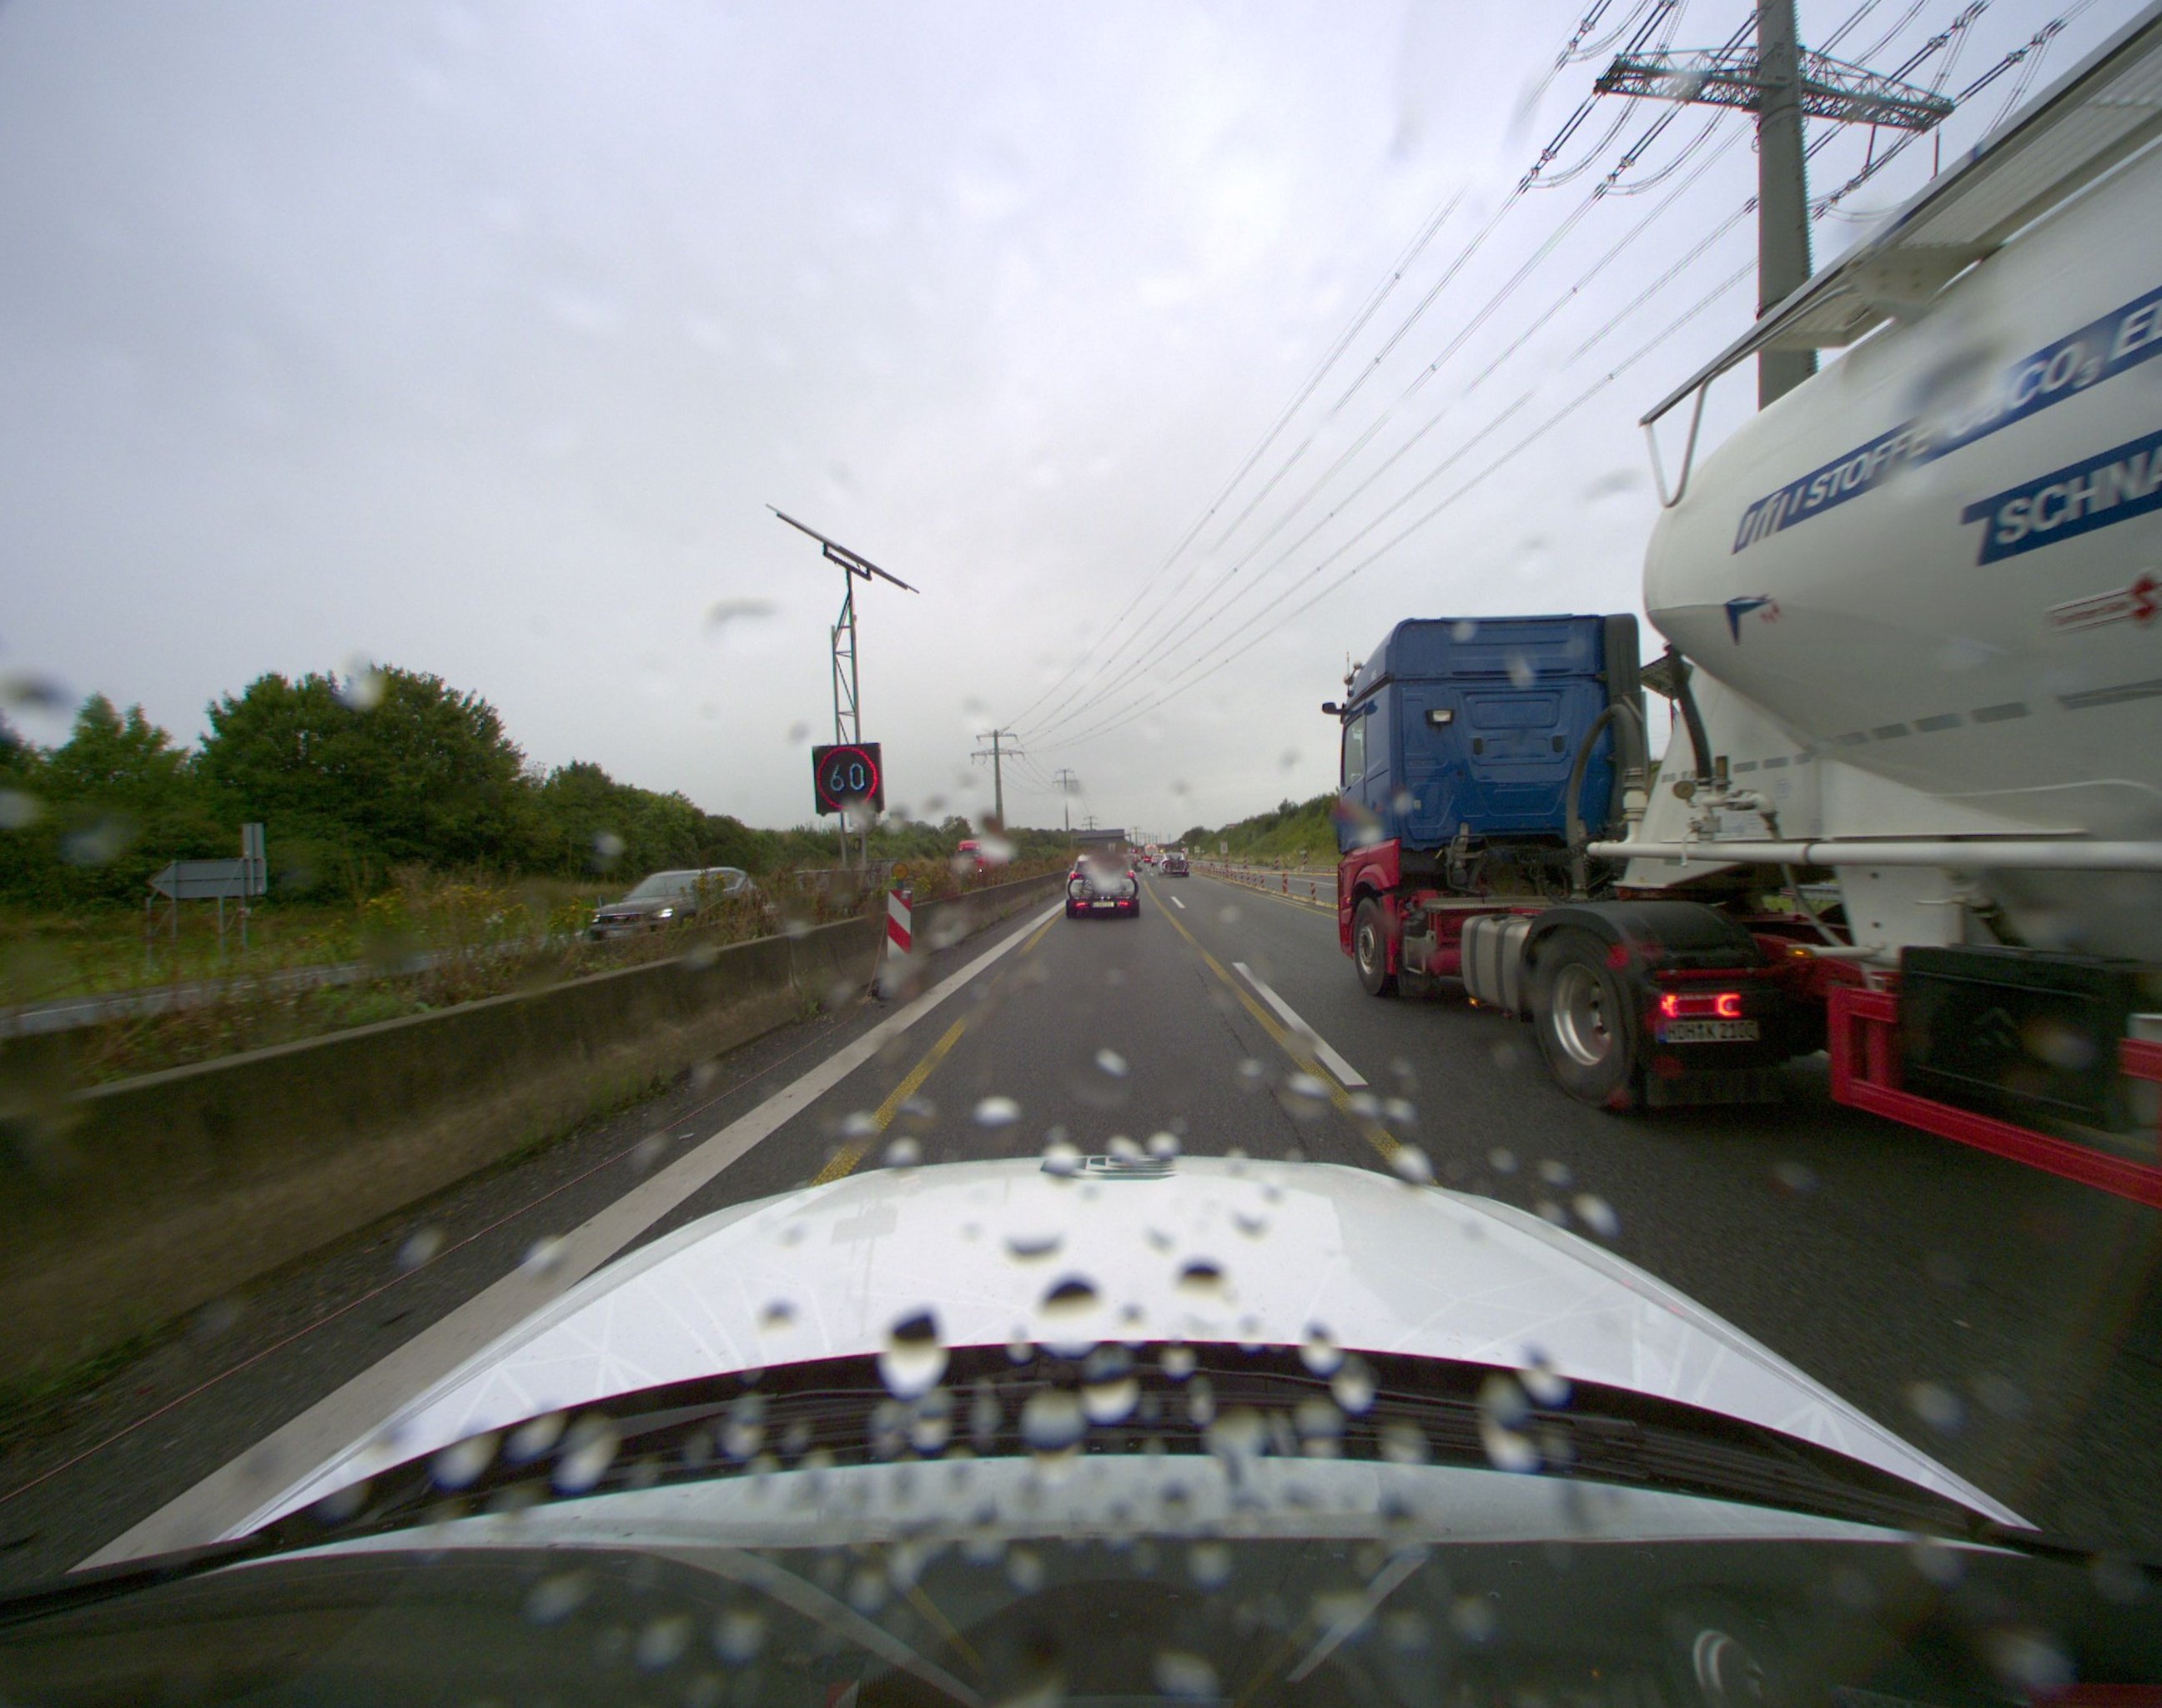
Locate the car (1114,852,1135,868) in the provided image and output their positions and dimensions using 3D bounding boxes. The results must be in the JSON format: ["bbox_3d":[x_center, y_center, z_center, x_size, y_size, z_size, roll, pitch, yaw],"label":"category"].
[{"bbox_3d":[4.605,0.610,85.813,1.987,1.584,4.000,-1,0,0],"label":"car"}]

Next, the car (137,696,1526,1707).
[{"bbox_3d":[-0.304,0.695,3.196,1.986,1.760,4.002,-3,0,2],"label":"car"}]

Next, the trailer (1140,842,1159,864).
[{"bbox_3d":[12.700,-0.142,151.584,2.629,3.893,10.542,-1,-1,0],"label":"trailer"}]

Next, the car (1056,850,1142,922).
[{"bbox_3d":[0.515,0.736,20.816,1.920,1.611,4.598,-1,0,3],"label":"car"}]

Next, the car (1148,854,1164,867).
[{"bbox_3d":[9.141,0.824,99.593,1.862,1.535,4.201,-2,0,4],"label":"car"}]

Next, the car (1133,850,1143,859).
[{"bbox_3d":[12.631,0.154,181.483,1.987,2.014,4.000,-1,-1,0],"label":"car"}]

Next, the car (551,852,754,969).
[{"bbox_3d":[-8.777,1.076,17.152,1.987,2.013,3.999,-5,-1,0],"label":"car"}]

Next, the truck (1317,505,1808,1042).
[{"bbox_3d":[4.127,-0.571,8.034,2.537,3.947,4.002,-1,-1,2],"label":"truck"}]

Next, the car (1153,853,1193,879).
[{"bbox_3d":[6.086,0.750,54.306,2.039,1.596,5.801,-1,0,0],"label":"car"}]

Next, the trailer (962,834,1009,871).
[{"bbox_3d":[-10.517,-0.030,91.371,3.025,3.814,13.985,-1,-1,2],"label":"trailer"}]

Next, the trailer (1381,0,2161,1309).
[{"bbox_3d":[3.909,-0.805,1.488,2.510,3.834,12.356,-1,-1,2],"label":"trailer"}]

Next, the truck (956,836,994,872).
[{"bbox_3d":[-10.859,0.056,83.845,3.012,3.531,4.929,-1,-1,2],"label":"truck"}]
